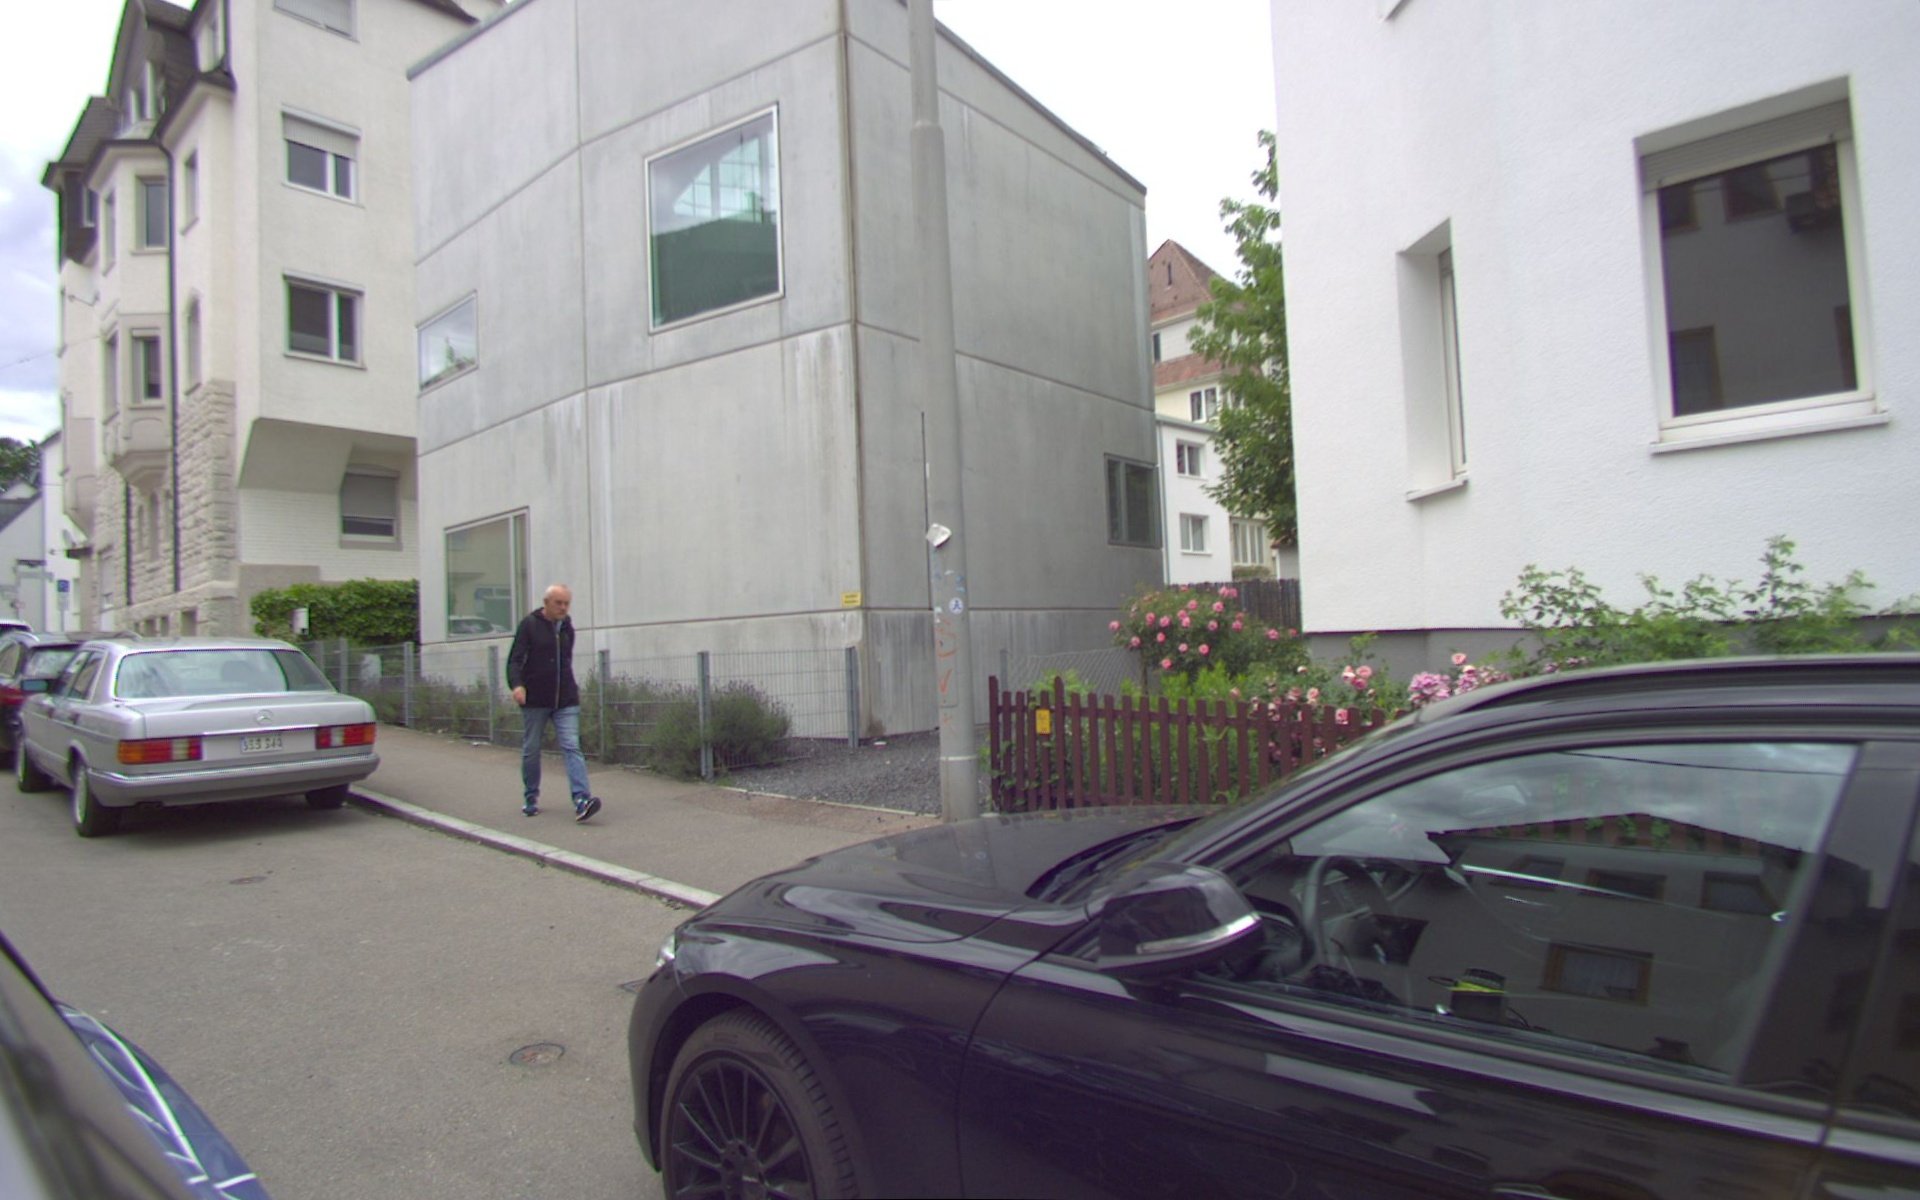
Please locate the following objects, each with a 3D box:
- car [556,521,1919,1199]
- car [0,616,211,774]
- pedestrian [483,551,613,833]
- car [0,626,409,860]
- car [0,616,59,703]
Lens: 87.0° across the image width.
[{"bbox_3d":[1.306,0.687,1.688,4.502,1.468,1.826,-1,-2,41],"label":"car"},{"bbox_3d":[-10.614,0.961,11.989,4.468,1.539,1.876,-1,-1,41],"label":"car"},{"bbox_3d":[-3.027,0.632,7.405,0.805,1.899,0.850,1,-2,-27],"label":"pedestrian"},{"bbox_3d":[-6.711,0.957,8.702,5.059,1.423,1.826,-1,-1,41],"label":"car"},{"bbox_3d":[-18.633,1.102,19.059,4.236,1.527,1.827,-2,-2,39],"label":"car"}]
